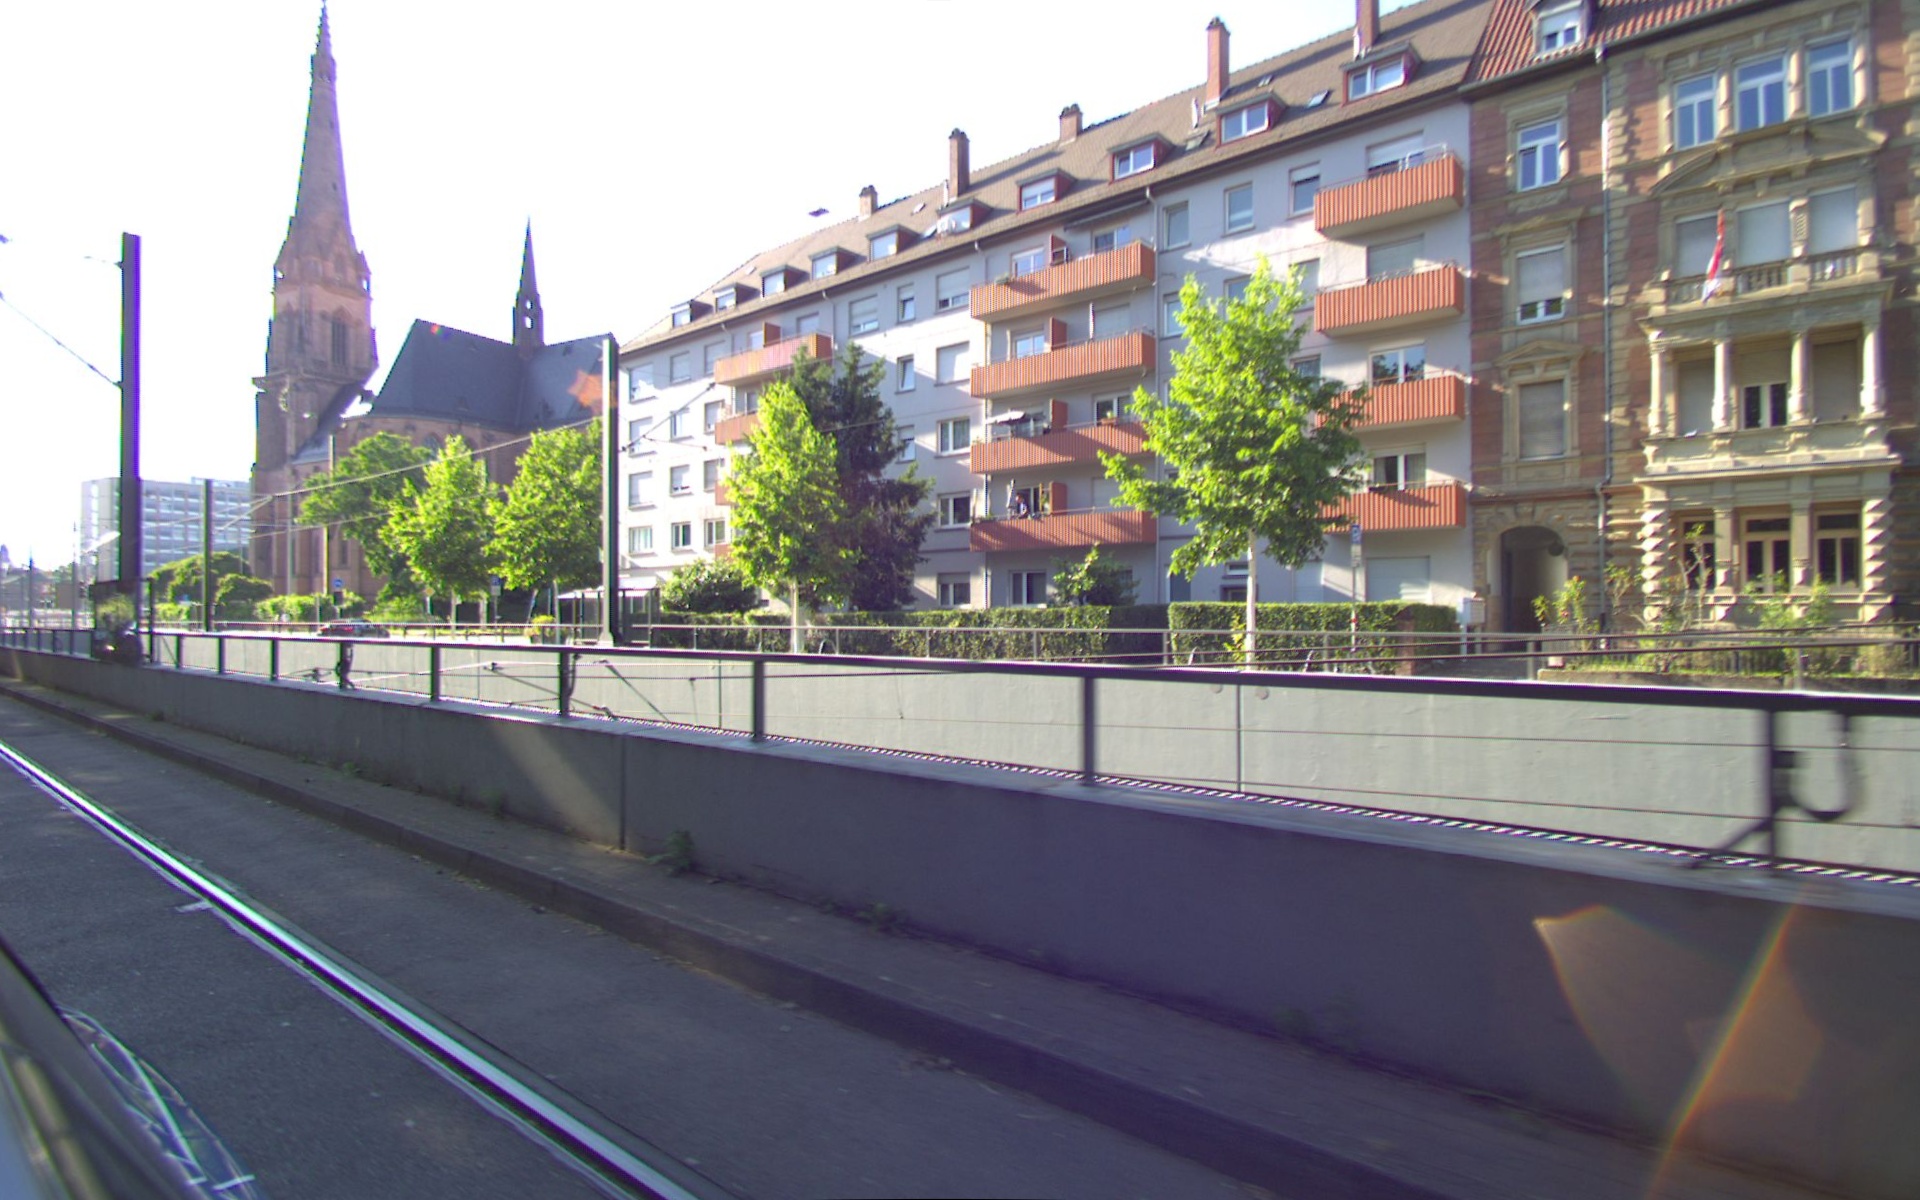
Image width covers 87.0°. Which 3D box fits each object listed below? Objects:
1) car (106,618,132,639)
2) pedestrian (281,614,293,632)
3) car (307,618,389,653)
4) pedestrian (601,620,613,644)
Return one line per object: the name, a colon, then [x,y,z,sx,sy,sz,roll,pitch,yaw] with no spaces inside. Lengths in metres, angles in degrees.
car: [-85.380,2.860,102.742,1.968,2.029,5.020,3,-3,-40]
pedestrian: [-58.096,1.970,87.358,0.945,1.500,0.580,-1,1,38]
car: [-31.375,1.807,52.033,1.946,1.515,4.415,-2,1,-7]
pedestrian: [-25.411,2.289,72.859,0.719,1.667,0.505,-1,1,39]
